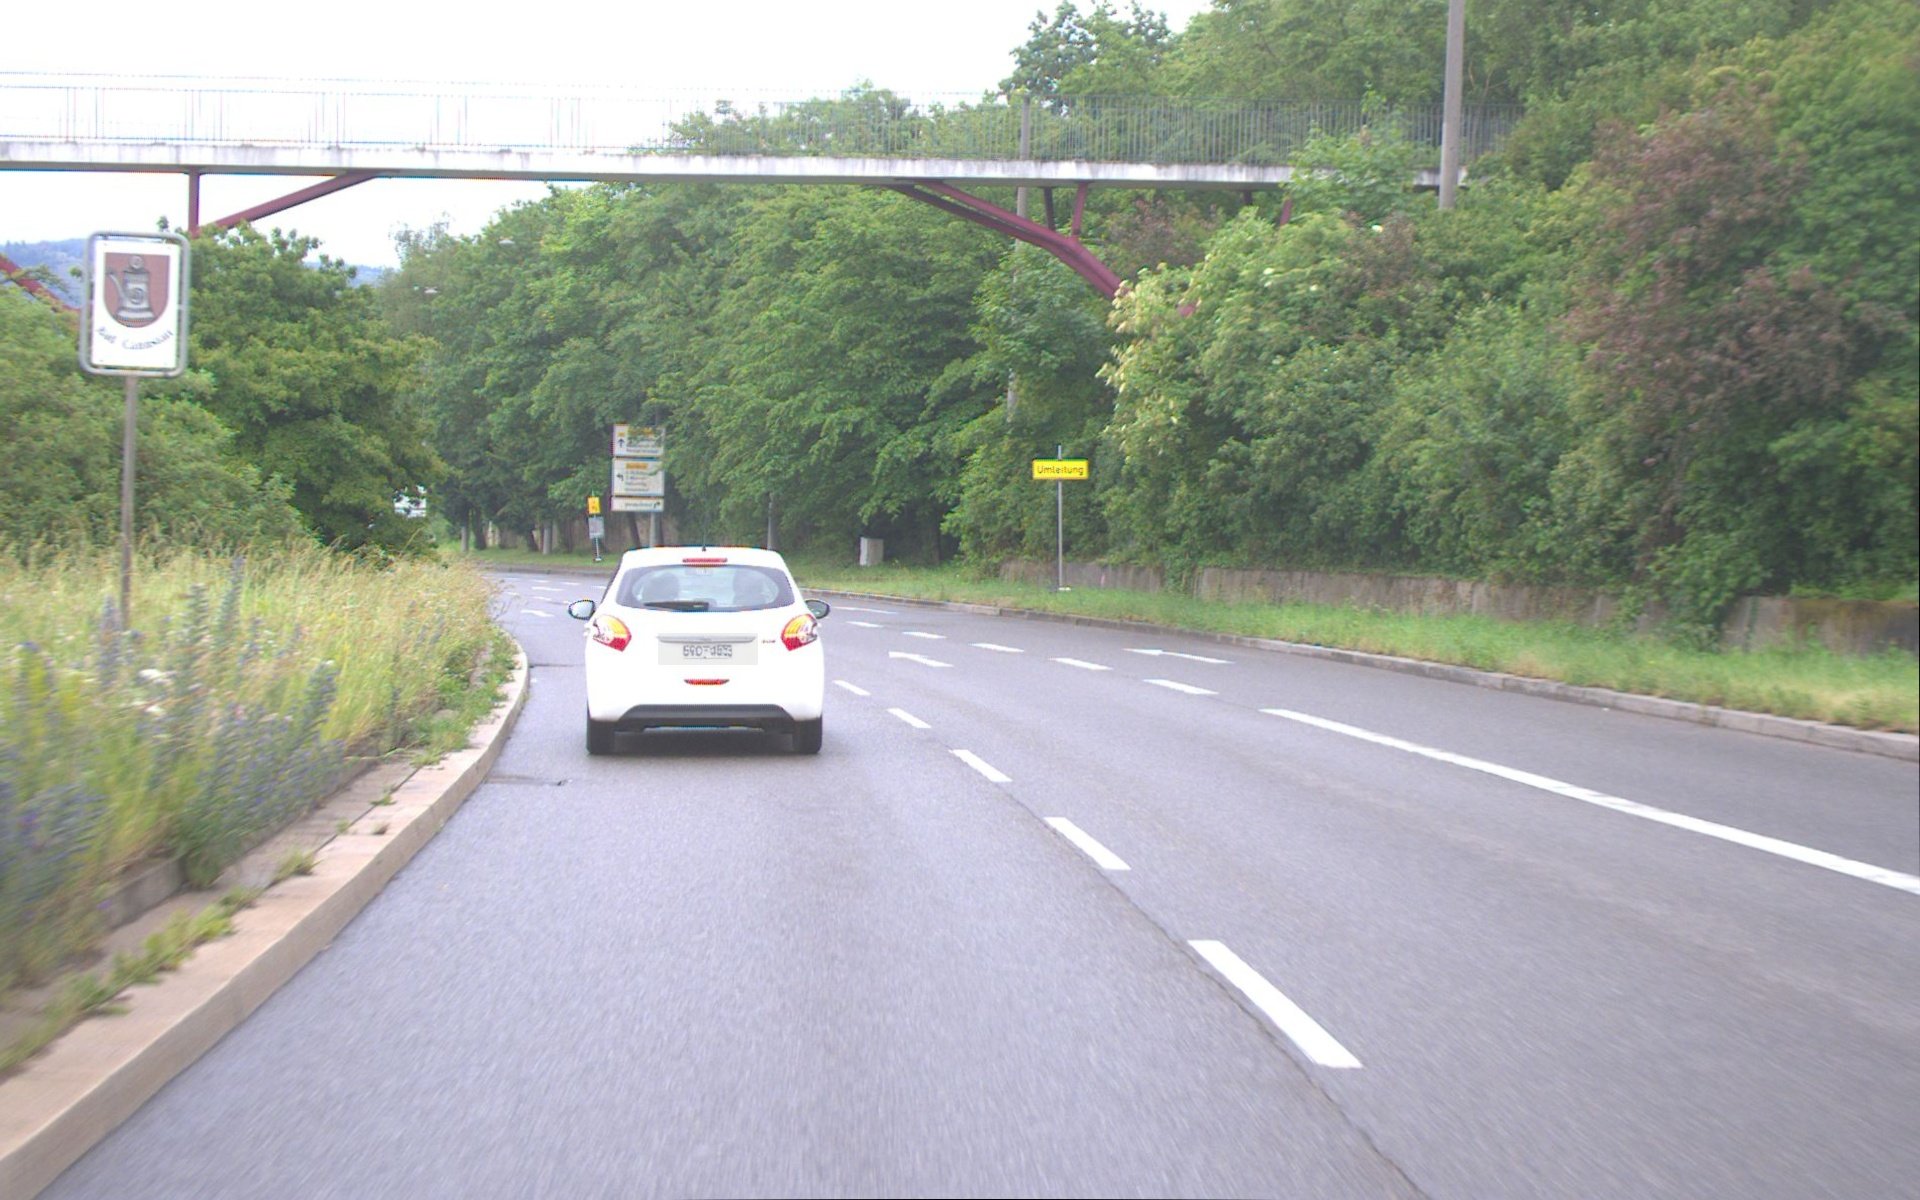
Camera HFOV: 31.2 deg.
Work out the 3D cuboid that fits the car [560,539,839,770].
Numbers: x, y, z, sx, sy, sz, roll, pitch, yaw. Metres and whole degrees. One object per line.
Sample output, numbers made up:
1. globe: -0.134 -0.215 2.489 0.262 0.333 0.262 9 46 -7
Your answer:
1. car: -1.969 0.345 25.500 1.868 1.505 3.900 1 1 -5
